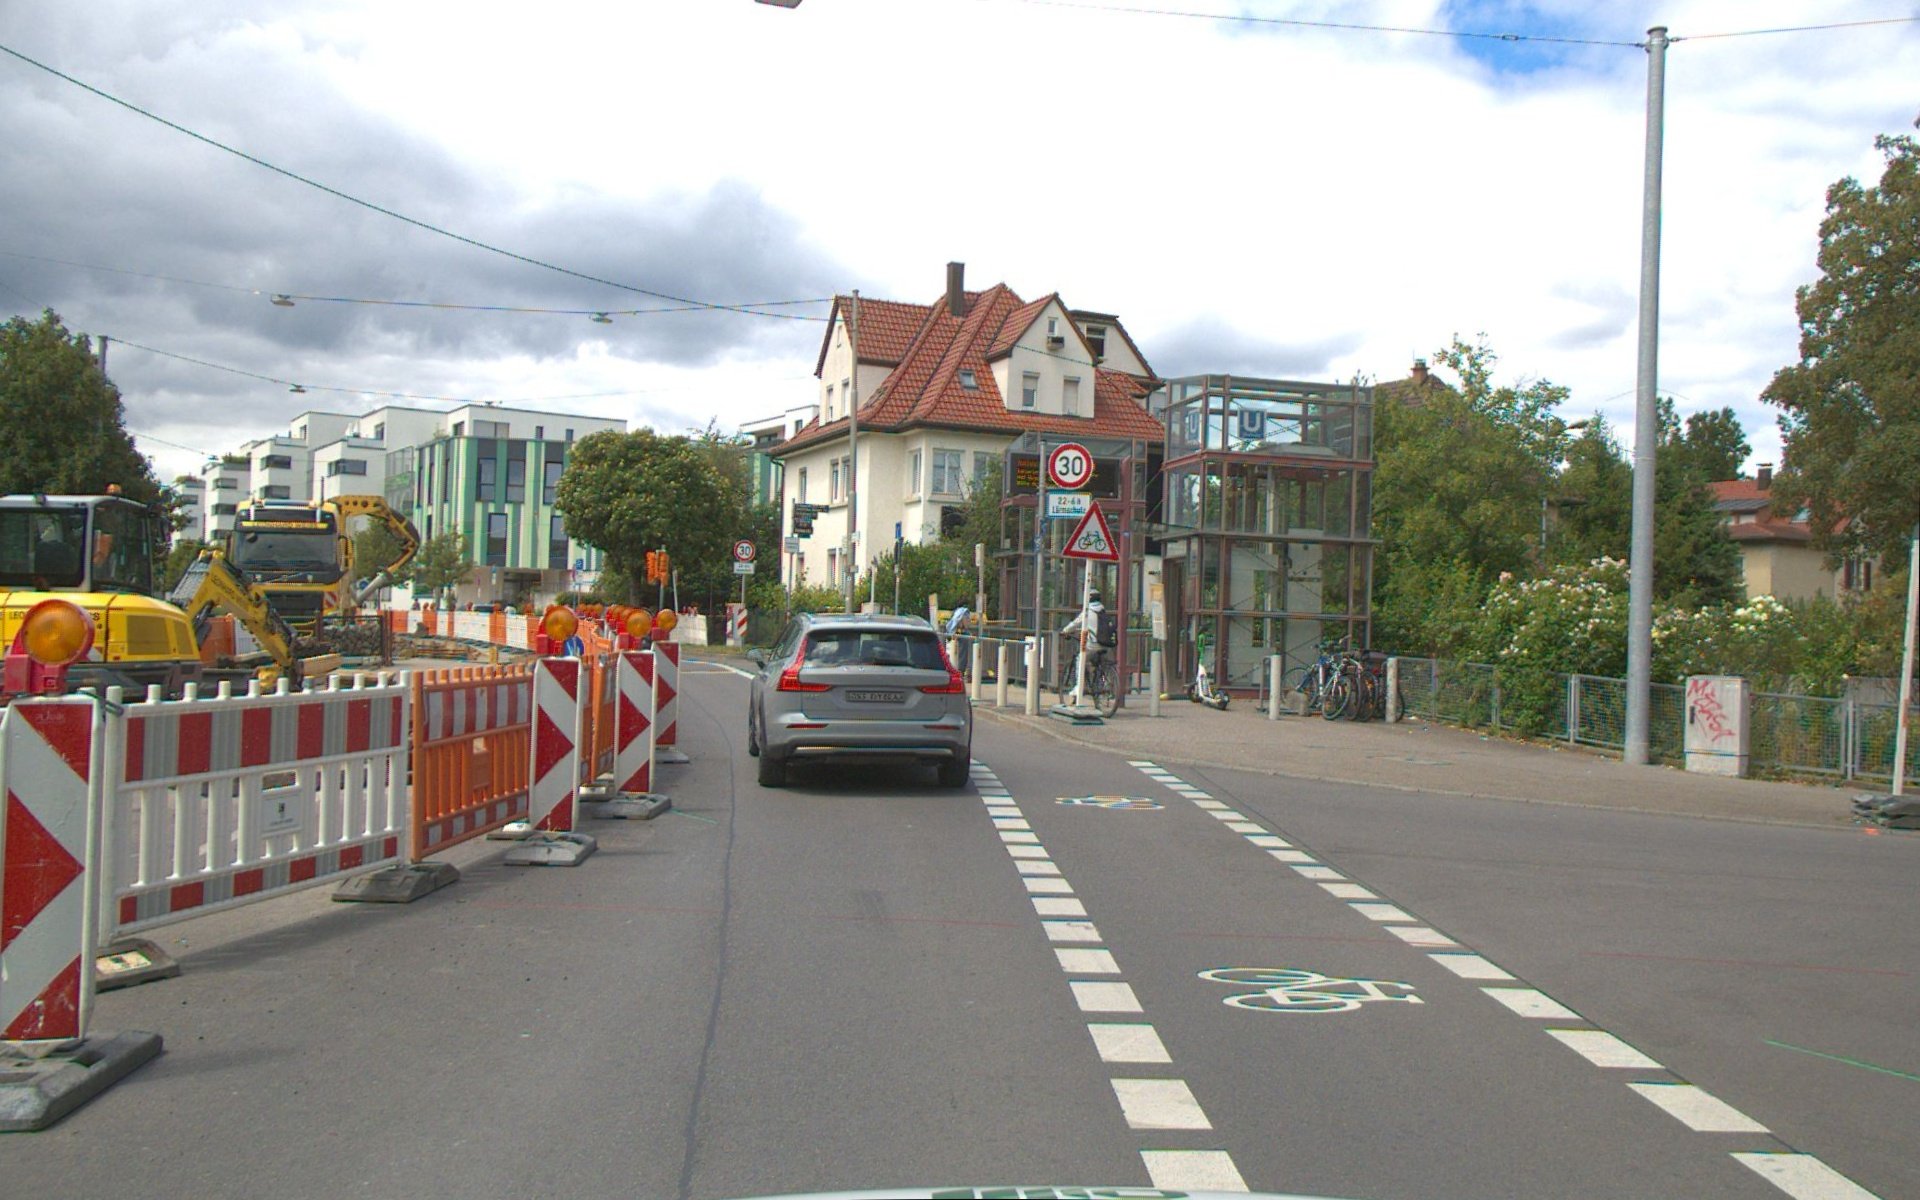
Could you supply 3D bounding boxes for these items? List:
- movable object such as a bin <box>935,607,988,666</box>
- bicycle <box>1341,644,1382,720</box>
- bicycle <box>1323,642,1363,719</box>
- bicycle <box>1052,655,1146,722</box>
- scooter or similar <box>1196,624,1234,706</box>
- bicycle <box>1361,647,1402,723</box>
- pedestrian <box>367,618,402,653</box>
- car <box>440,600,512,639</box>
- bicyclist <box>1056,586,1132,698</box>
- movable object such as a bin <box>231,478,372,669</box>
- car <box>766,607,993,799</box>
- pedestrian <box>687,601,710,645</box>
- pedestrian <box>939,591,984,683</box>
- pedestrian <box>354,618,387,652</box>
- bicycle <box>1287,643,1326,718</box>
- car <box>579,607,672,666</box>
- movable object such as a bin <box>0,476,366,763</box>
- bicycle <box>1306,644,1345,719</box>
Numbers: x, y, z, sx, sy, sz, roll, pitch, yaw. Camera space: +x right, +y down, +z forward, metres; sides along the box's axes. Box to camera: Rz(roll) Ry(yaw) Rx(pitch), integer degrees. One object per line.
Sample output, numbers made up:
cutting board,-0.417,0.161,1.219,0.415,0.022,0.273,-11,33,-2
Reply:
movable object such as a bin,0.041,0.946,43.666,1.244,1.496,1.003,2,-1,-7
bicycle,5.705,1.148,23.544,0.211,1.026,1.188,1,0,-4
bicycle,5.444,1.131,23.542,0.211,1.031,1.168,1,0,-4
bicycle,1.840,1.167,22.207,0.624,0.766,2.055,2,0,-13
scooter or similar,3.754,0.947,24.370,0.212,1.131,0.944,1,3,-12
bicycle,5.996,1.201,23.559,0.211,1.026,1.188,1,0,-4
pedestrian,-16.994,1.044,48.874,0.775,1.008,0.811,1,0,-4
car,-20.731,0.828,70.815,1.828,1.539,3.953,3,-2,-34
bicyclist,1.792,0.548,22.255,0.645,1.440,1.174,2,0,-14
movable object such as a bin,-16.853,-0.579,42.934,2.551,4.295,11.064,1,0,-18
car,-0.863,0.845,15.362,1.819,1.539,3.994,1,0,-6
pedestrian,-9.441,0.840,59.747,0.621,1.567,0.522,0,-1,22
pedestrian,0.023,0.676,30.141,0.588,1.610,0.400,7,-4,-14
pedestrian,-17.662,1.041,49.596,0.627,1.008,0.794,1,0,6
bicycle,4.911,1.132,23.482,0.211,1.006,1.203,1,0,-4
car,-9.614,1.022,47.316,1.829,1.539,3.972,3,-1,-23
movable object such as a bin,-8.705,0.197,18.736,1.954,2.671,6.517,1,0,-4
bicycle,5.186,1.143,23.497,0.211,1.018,1.206,1,0,-4
